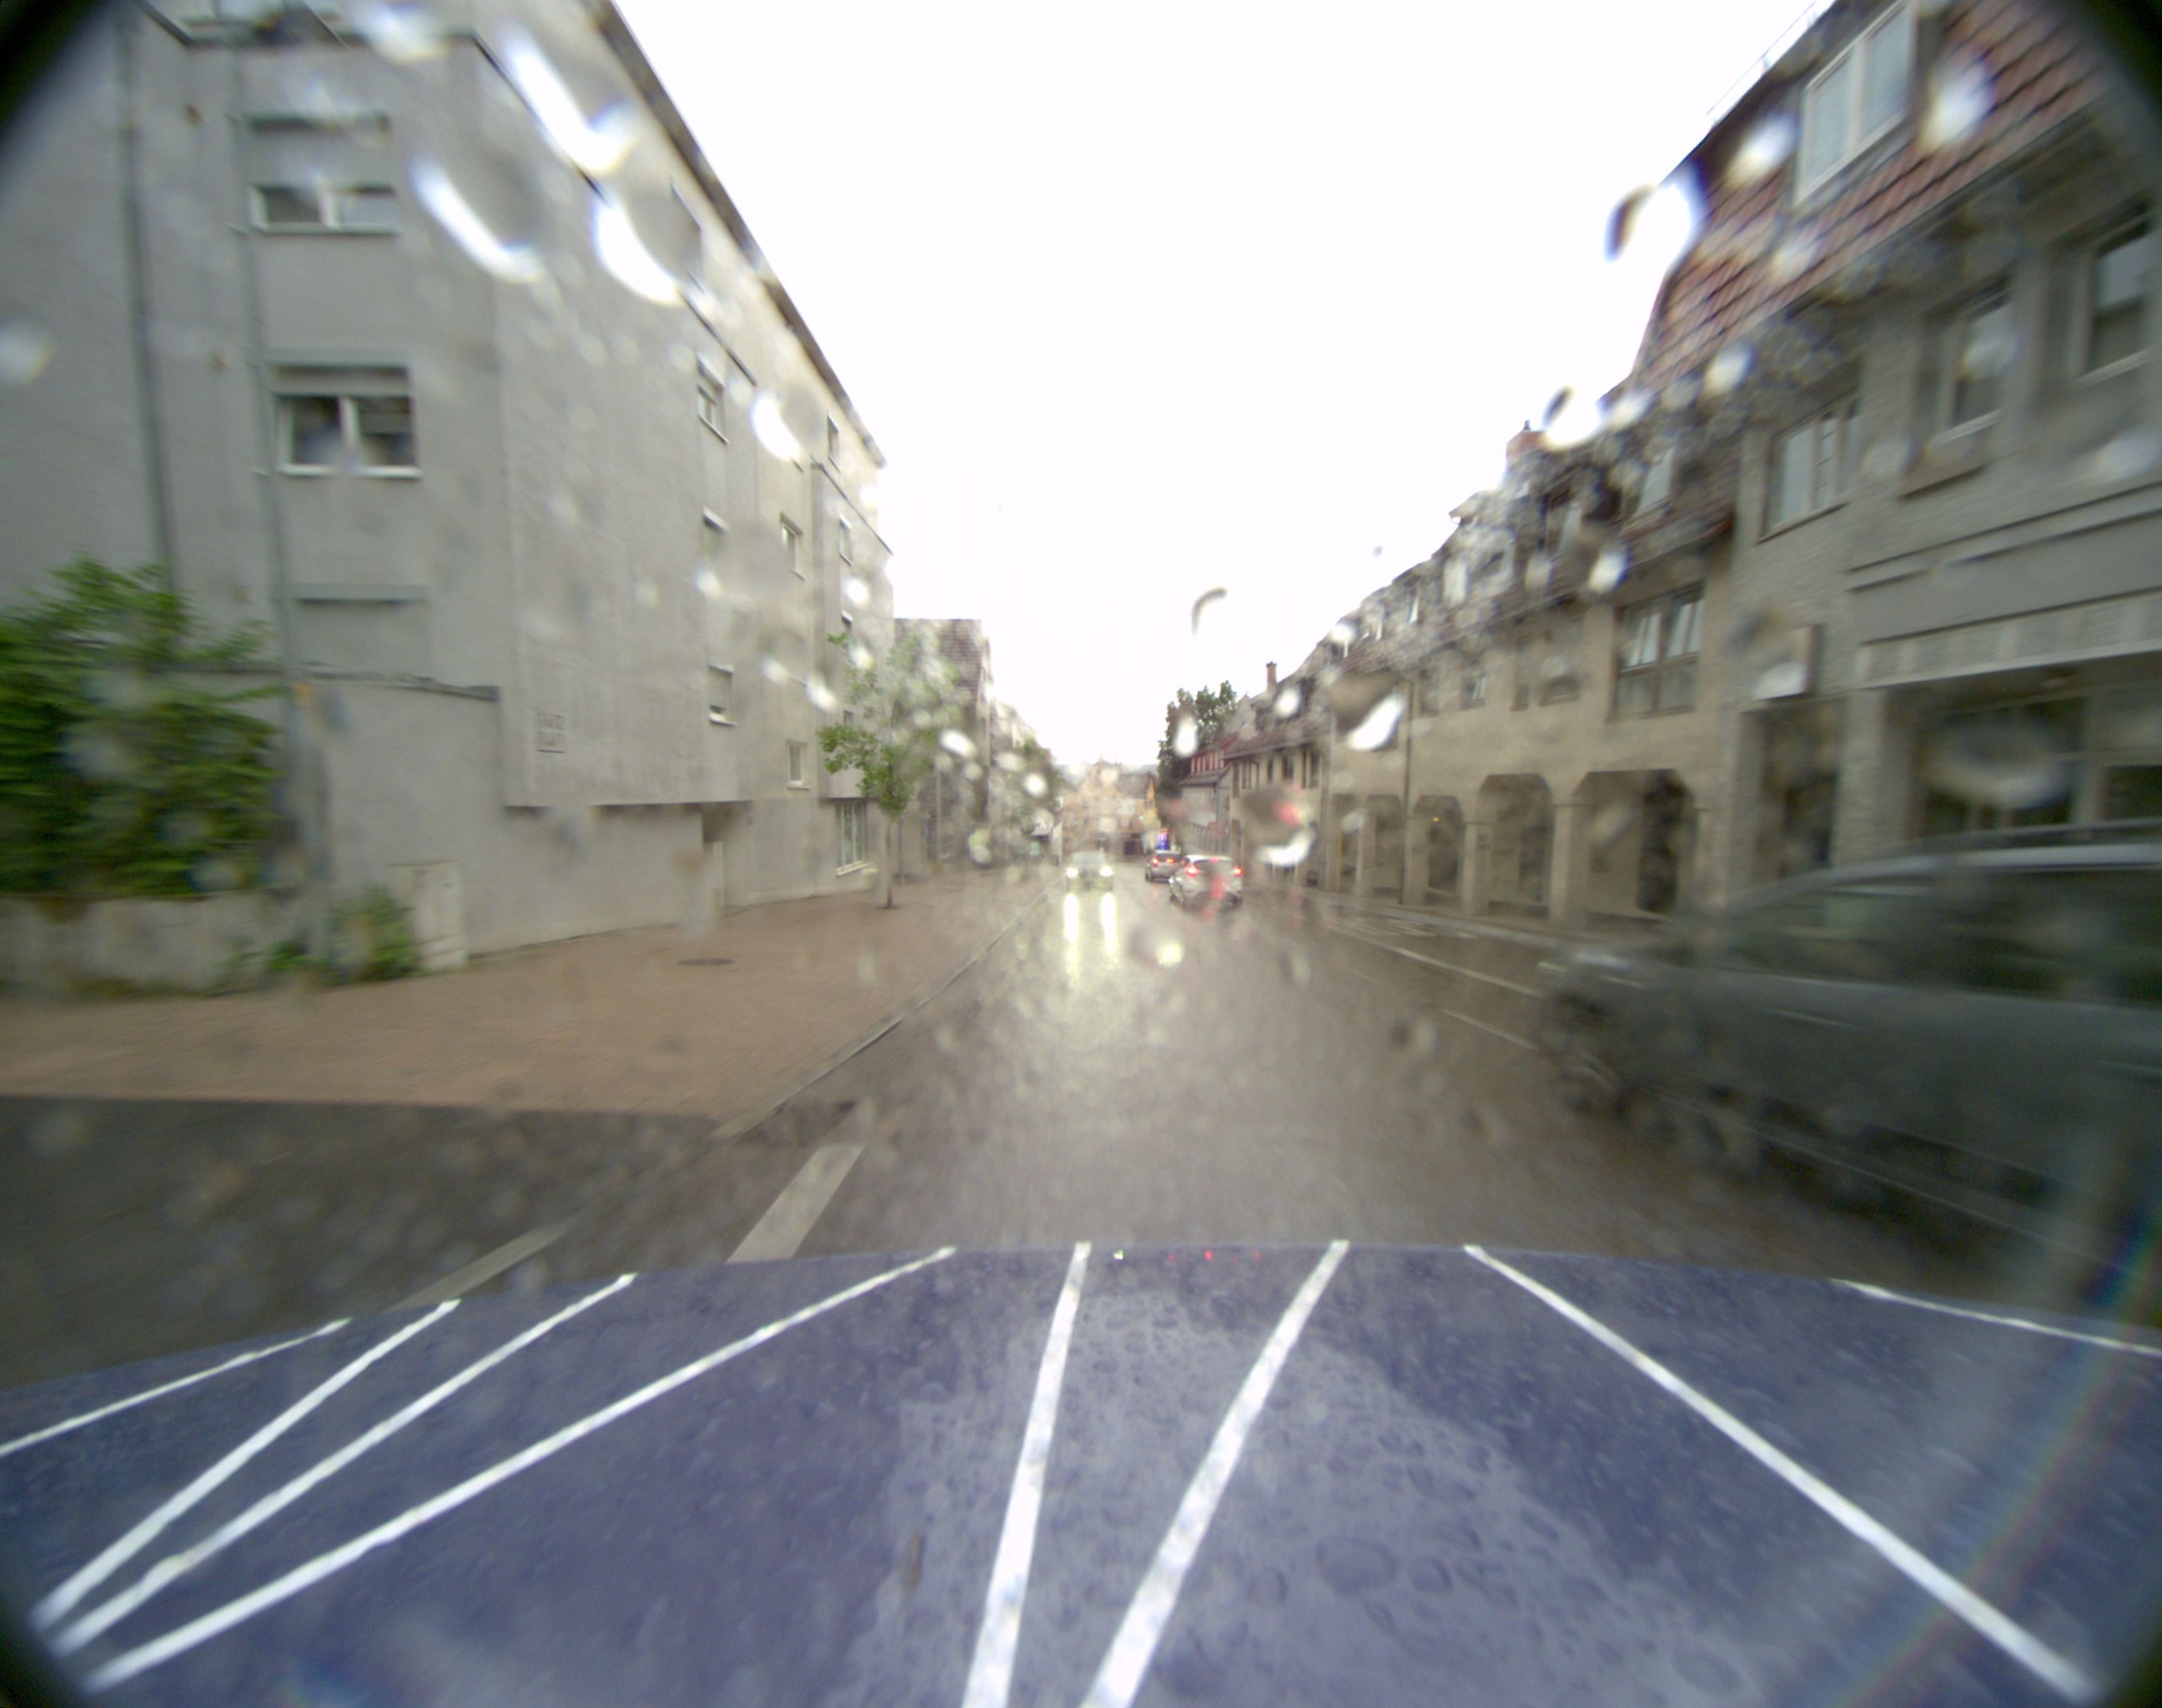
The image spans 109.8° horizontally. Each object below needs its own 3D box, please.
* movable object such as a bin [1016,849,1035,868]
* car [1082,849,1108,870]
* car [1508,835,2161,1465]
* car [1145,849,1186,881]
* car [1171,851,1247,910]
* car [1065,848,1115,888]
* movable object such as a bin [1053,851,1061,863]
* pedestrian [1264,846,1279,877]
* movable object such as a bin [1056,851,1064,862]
[{"bbox_3d":[-3.865,0.322,53.016,1.237,1.327,1.172,1,1,3],"label":"movable object such as a bin"},{"bbox_3d":[1.136,0.445,59.949,1.967,1.598,4.384,0,0,2],"label":"car"},{"bbox_3d":[3.759,0.775,2.787,1.787,1.684,4.458,0,1,-2],"label":"car"},{"bbox_3d":[4.291,0.525,39.032,1.681,1.501,3.588,0,1,-1],"label":"car"},{"bbox_3d":[3.618,0.706,22.032,1.681,1.501,3.588,0,1,2],"label":"car"},{"bbox_3d":[0.409,0.547,32.377,1.967,1.549,4.622,0,1,2],"label":"car"},{"bbox_3d":[-2.228,0.276,69.946,0.571,1.022,0.467,1,2,-39],"label":"movable object such as a bin"},{"bbox_3d":[11.012,0.413,43.878,0.689,1.730,0.735,-2,1,4],"label":"pedestrian"},{"bbox_3d":[-1.961,0.249,71.014,0.596,1.022,0.476,2,1,3],"label":"movable object such as a bin"}]
